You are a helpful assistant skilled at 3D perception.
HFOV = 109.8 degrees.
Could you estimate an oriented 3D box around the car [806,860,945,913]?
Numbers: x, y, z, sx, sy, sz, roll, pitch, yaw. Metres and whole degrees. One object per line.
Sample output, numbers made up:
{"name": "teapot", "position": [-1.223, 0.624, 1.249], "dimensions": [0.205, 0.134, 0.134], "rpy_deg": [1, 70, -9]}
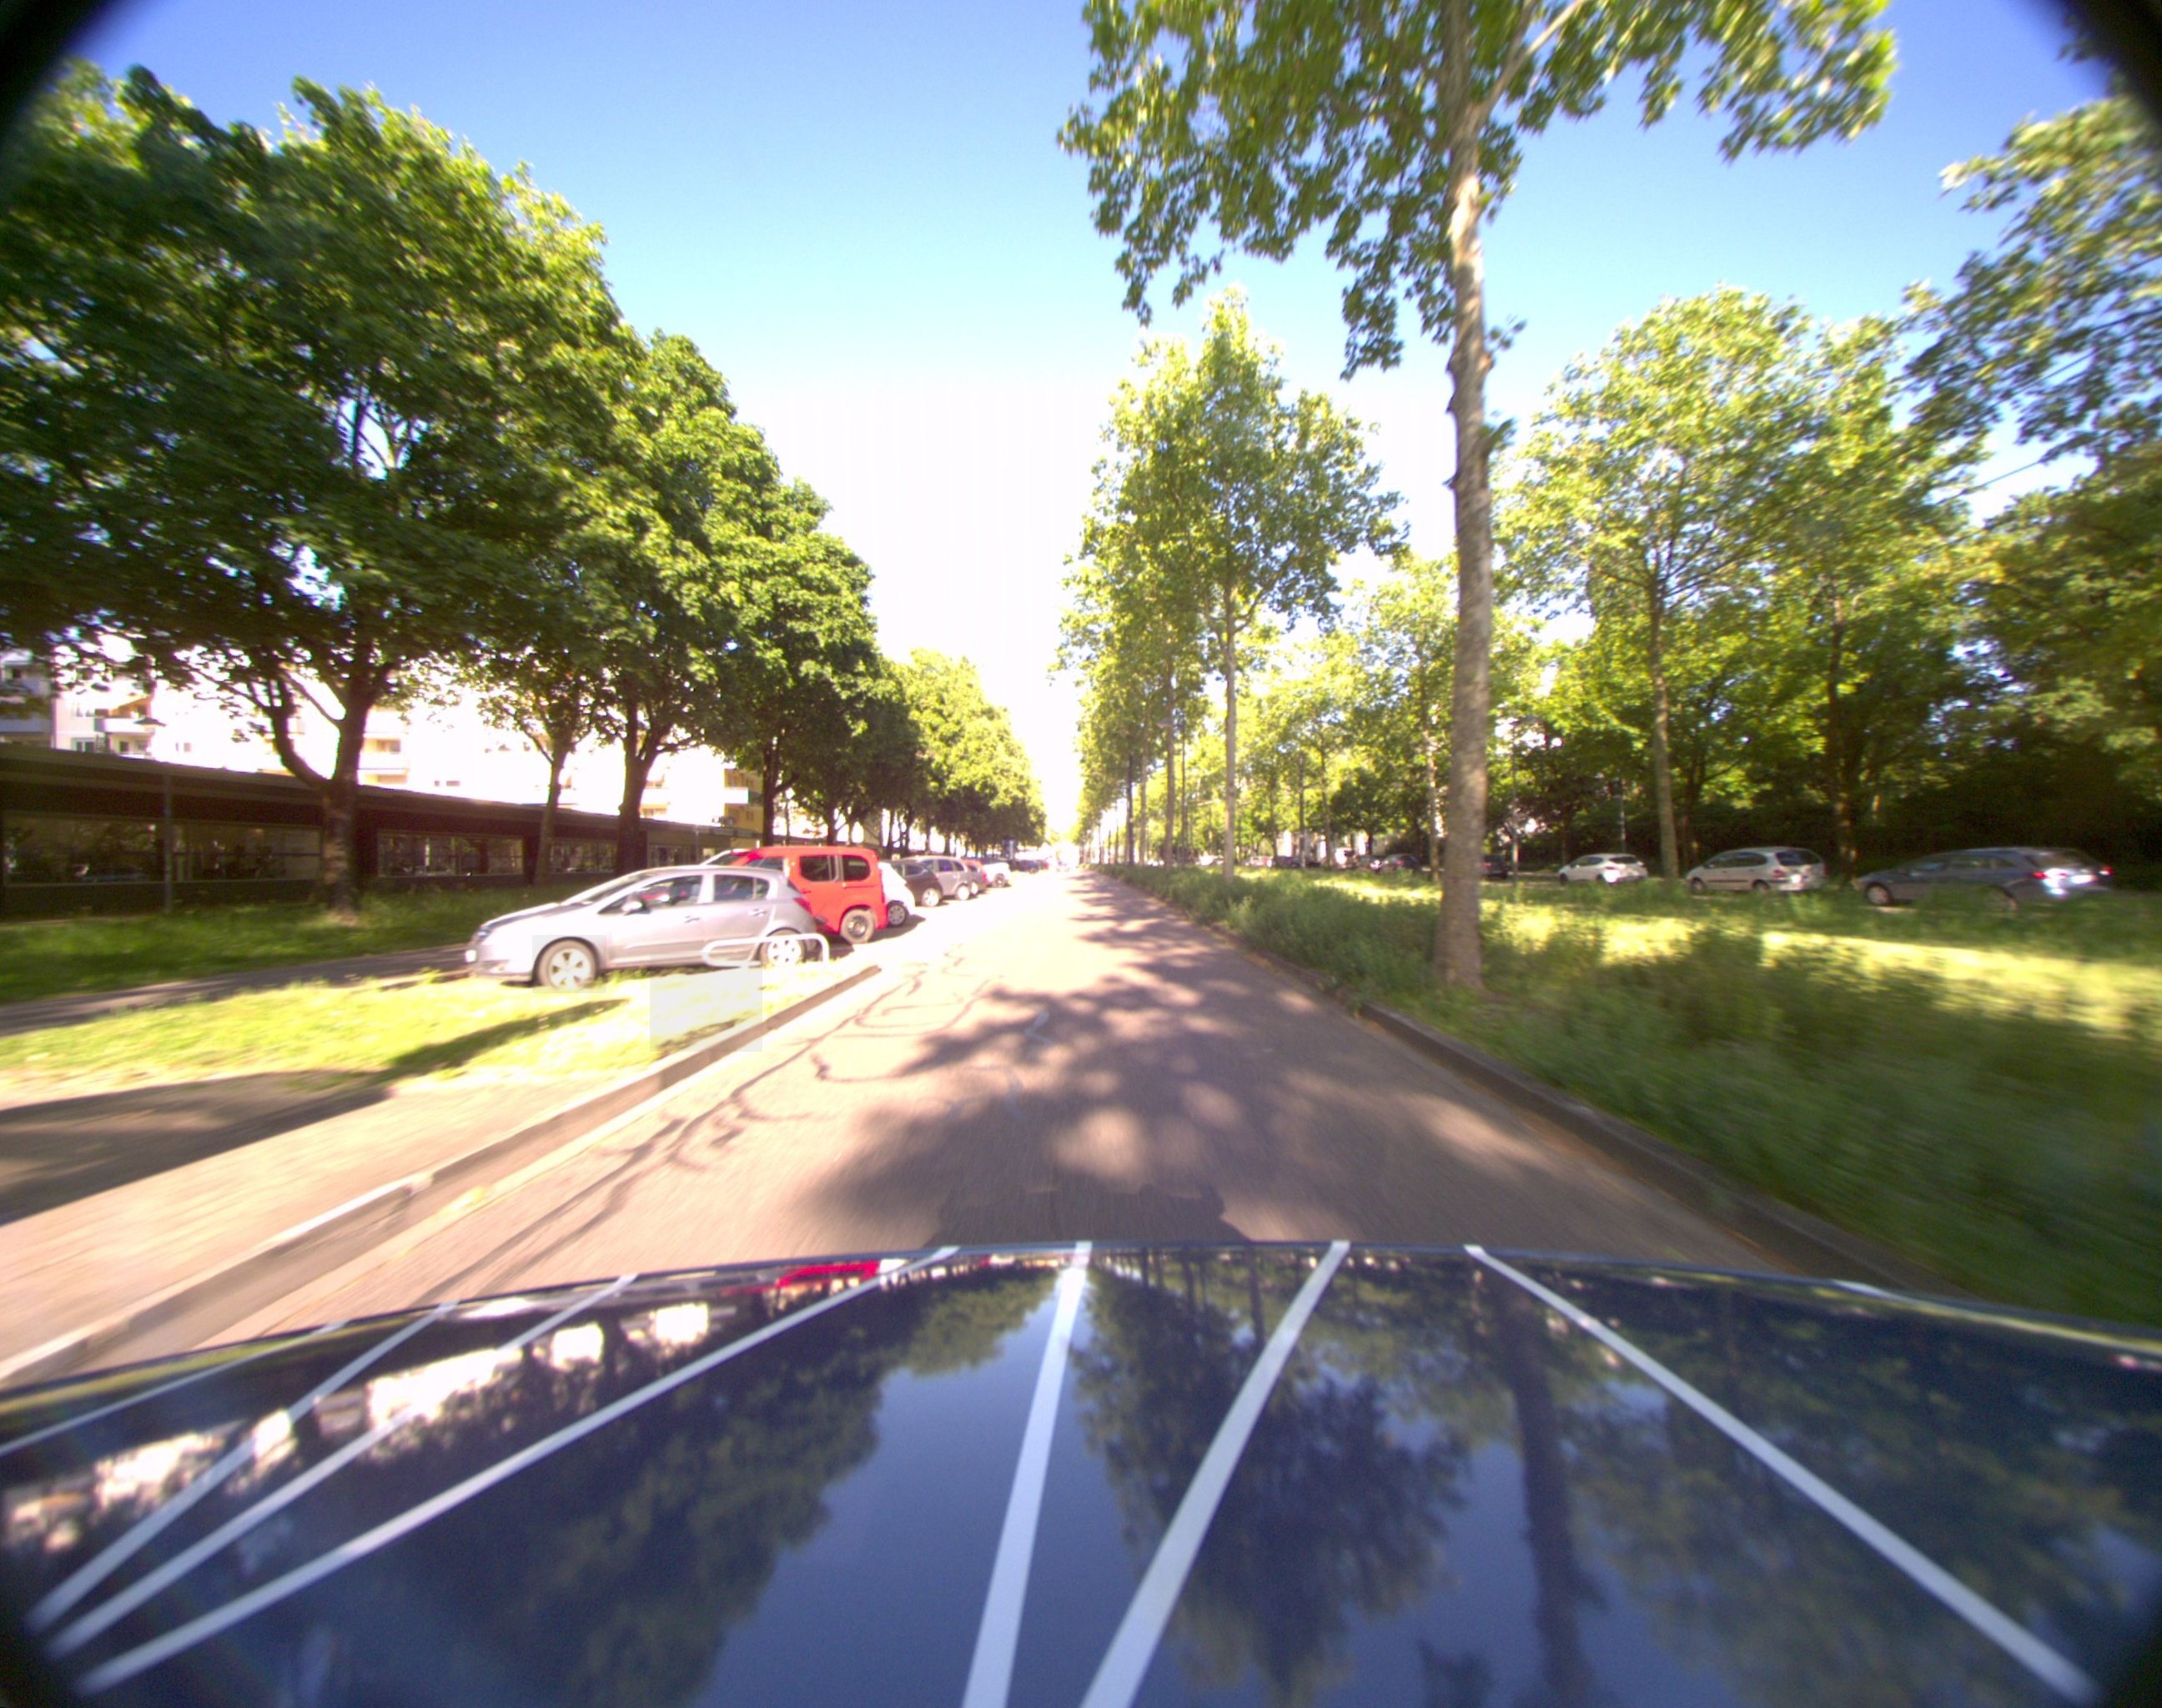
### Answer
{"name": "car", "position": [-6.202, 0.926, 23.183], "dimensions": [1.677, 1.450, 3.754], "rpy_deg": [1, 0, 44]}

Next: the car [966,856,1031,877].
{"name": "car", "position": [-6.246, 0.950, 57.732], "dimensions": [1.994, 1.556, 4.687], "rpy_deg": [1, 0, 44]}

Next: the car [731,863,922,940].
{"name": "car", "position": [-5.590, 0.964, 16.916], "dimensions": [3.635, 1.486, 1.677], "rpy_deg": [1, 0, -43]}

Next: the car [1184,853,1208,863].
{"name": "car", "position": [20.912, 0.745, 137.921], "dimensions": [4.006, 1.699, 1.837], "rpy_deg": [-2, 1, -31]}

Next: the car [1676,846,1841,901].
{"name": "car", "position": [22.654, 0.583, 25.661], "dimensions": [1.820, 1.587, 4.189], "rpy_deg": [-4, 1, 1]}

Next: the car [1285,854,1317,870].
{"name": "car", "position": [23.273, 0.839, 80.198], "dimensions": [1.884, 1.558, 4.007], "rpy_deg": [-2, 1, 37]}

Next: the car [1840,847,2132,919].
{"name": "car", "position": [22.549, 0.623, 19.306], "dimensions": [1.902, 1.480, 4.627], "rpy_deg": [-4, 1, 1]}

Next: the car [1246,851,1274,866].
{"name": "car", "position": [23.588, 0.578, 100.224], "dimensions": [1.895, 1.699, 4.508], "rpy_deg": [-1, 1, 37]}

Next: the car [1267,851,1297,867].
{"name": "car", "position": [24.629, 0.575, 92.979], "dimensions": [1.895, 1.699, 4.508], "rpy_deg": [-1, 1, 37]}

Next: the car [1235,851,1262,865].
{"name": "car", "position": [22.858, 0.530, 103.628], "dimensions": [1.895, 1.699, 4.508], "rpy_deg": [-1, 1, 37]}

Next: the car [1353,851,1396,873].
{"name": "car", "position": [22.674, 0.602, 58.809], "dimensions": [1.754, 1.487, 3.817], "rpy_deg": [-4, 1, 1]}

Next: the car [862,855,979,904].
{"name": "car", "position": [-5.662, 0.871, 27.081], "dimensions": [1.695, 1.581, 3.731], "rpy_deg": [1, 0, 44]}

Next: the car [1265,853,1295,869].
{"name": "car", "position": [22.781, 0.793, 86.922], "dimensions": [1.884, 1.558, 4.007], "rpy_deg": [-2, 1, 37]}

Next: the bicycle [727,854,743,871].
{"name": "bicycle", "position": [-28.140, 0.681, 61.854], "dimensions": [0.506, 1.299, 1.660], "rpy_deg": [-2, 1, -2]}

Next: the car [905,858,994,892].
{"name": "car", "position": [-5.938, 0.912, 34.371], "dimensions": [3.583, 1.412, 1.706], "rpy_deg": [1, 1, -42]}

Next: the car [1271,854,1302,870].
{"name": "car", "position": [22.503, 0.840, 83.047], "dimensions": [1.884, 1.558, 4.007], "rpy_deg": [-2, 1, 37]}

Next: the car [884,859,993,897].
{"name": "car", "position": [-5.717, 0.951, 30.751], "dimensions": [1.681, 1.395, 4.096], "rpy_deg": [1, 0, 44]}

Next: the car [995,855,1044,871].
{"name": "car", "position": [-5.822, 0.863, 72.166], "dimensions": [1.894, 1.440, 4.510], "rpy_deg": [1, 0, 44]}

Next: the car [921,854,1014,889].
{"name": "car", "position": [-5.680, 0.854, 38.375], "dimensions": [4.311, 1.666, 1.862], "rpy_deg": [-1, 0, -42]}

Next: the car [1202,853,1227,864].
{"name": "car", "position": [22.617, 0.710, 128.541], "dimensions": [4.006, 1.699, 1.837], "rpy_deg": [-2, 1, -31]}

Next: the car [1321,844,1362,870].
{"name": "car", "position": [22.491, 0.226, 65.762], "dimensions": [1.987, 2.045, 4.278], "rpy_deg": [-5, 1, 0]}

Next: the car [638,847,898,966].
{"name": "car", "position": [-5.523, 0.822, 13.714], "dimensions": [3.960, 1.832, 1.763], "rpy_deg": [0, 1, -44]}

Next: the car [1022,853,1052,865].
{"name": "car", "position": [-6.696, 0.785, 117.116], "dimensions": [1.894, 1.663, 4.510], "rpy_deg": [1, 0, 44]}

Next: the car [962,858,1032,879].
{"name": "car", "position": [-5.925, 1.041, 54.041], "dimensions": [1.994, 1.417, 4.687], "rpy_deg": [1, 0, 44]}

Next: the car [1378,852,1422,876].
{"name": "car", "position": [22.402, 0.673, 53.532], "dimensions": [1.545, 1.480, 3.569], "rpy_deg": [-4, 0, 0]}

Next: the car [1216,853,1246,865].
{"name": "car", "position": [23.487, 0.834, 118.728], "dimensions": [4.507, 1.699, 1.895], "rpy_deg": [-2, 1, -31]}

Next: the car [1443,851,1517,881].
{"name": "car", "position": [22.616, 0.626, 43.228], "dimensions": [1.843, 1.480, 4.179], "rpy_deg": [-4, 0, -1]}

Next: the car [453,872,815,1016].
{"name": "car", "position": [-5.671, 1.004, 9.937], "dimensions": [3.837, 1.464, 1.514], "rpy_deg": [1, 1, -43]}

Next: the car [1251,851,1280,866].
{"name": "car", "position": [23.265, 0.603, 95.610], "dimensions": [1.895, 1.699, 4.508], "rpy_deg": [-1, 1, 37]}

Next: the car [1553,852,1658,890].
{"name": "car", "position": [22.603, 0.700, 32.948], "dimensions": [1.723, 1.410, 4.023], "rpy_deg": [-4, 0, 1]}

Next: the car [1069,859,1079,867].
{"name": "car", "position": [-1.470, 1.926, 161.251], "dimensions": [1.897, 1.623, 4.502], "rpy_deg": [-2, 0, 4]}
